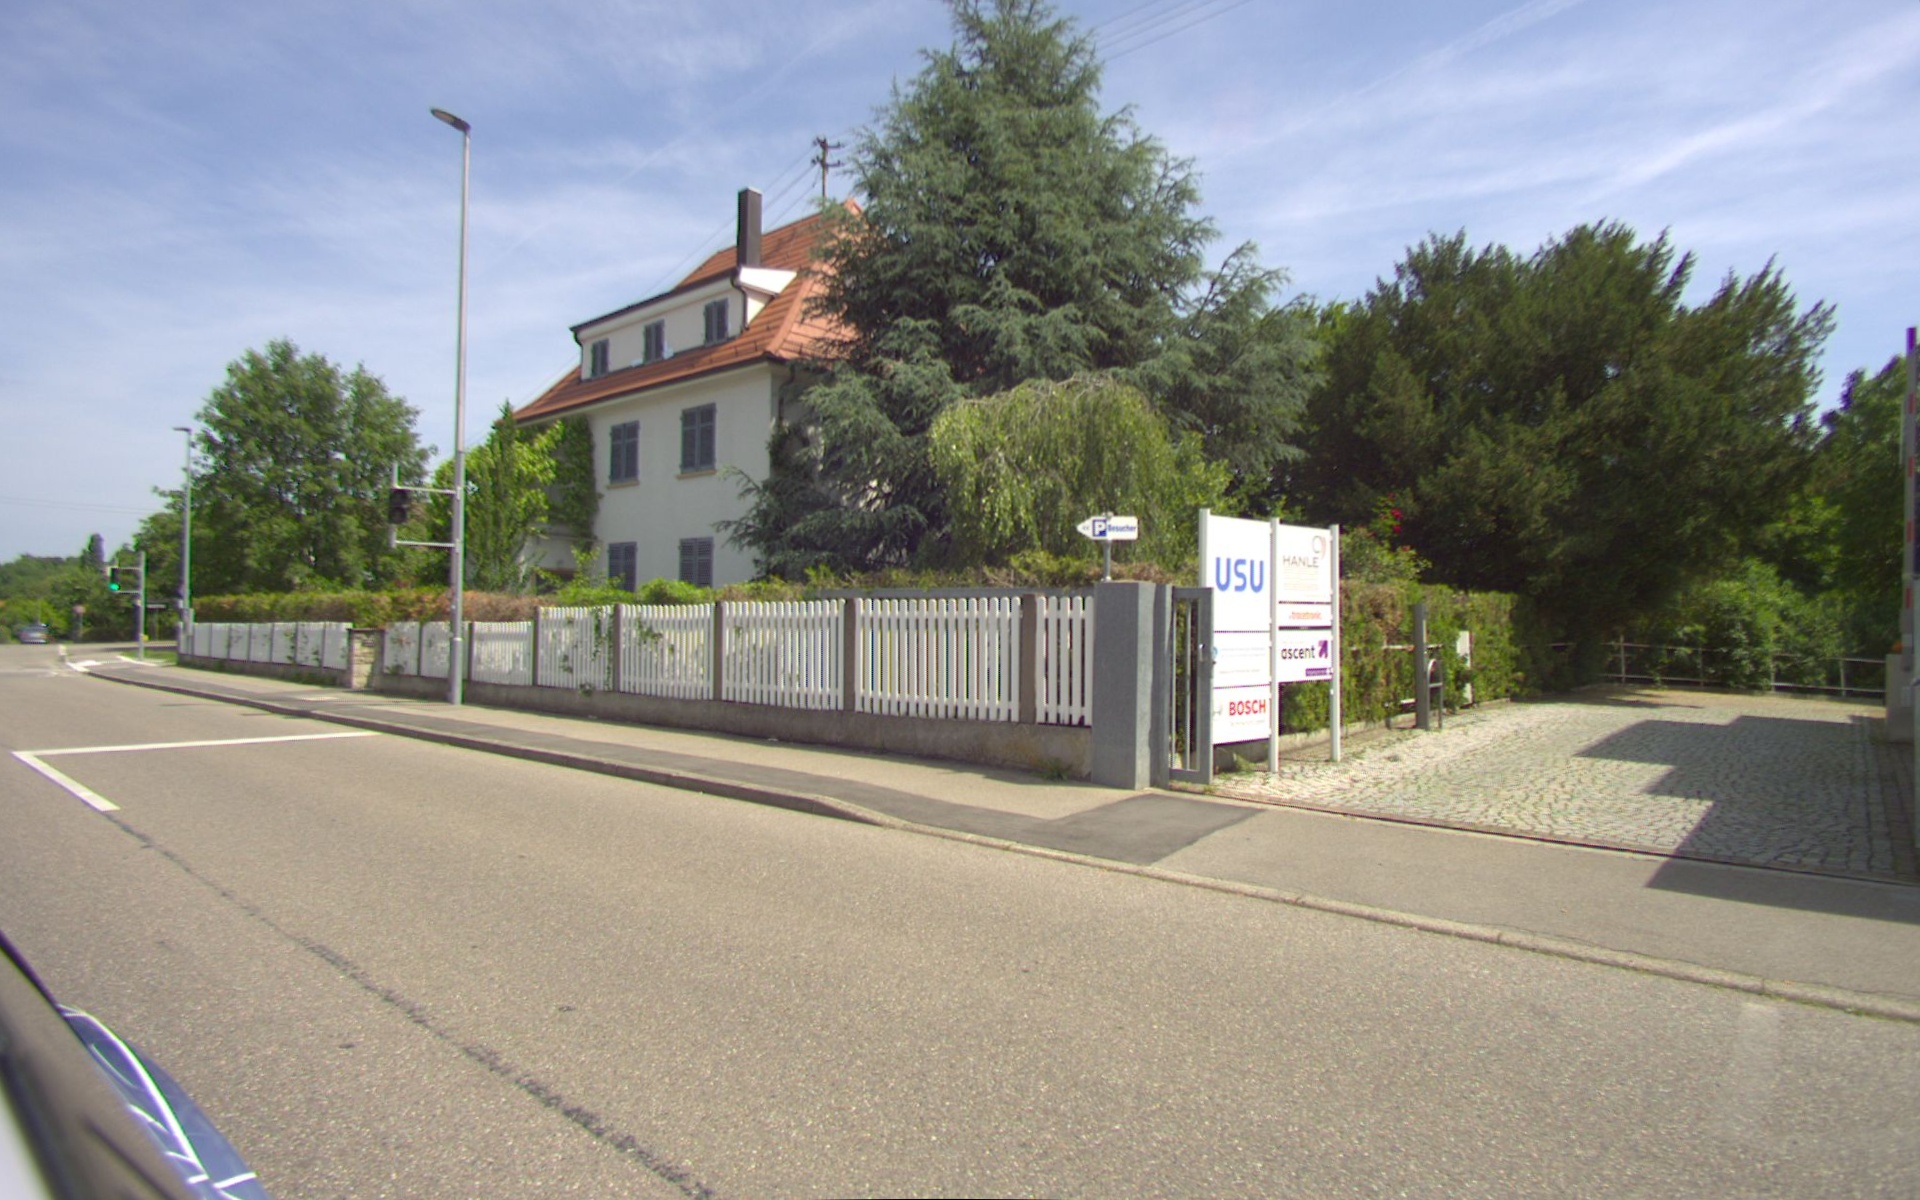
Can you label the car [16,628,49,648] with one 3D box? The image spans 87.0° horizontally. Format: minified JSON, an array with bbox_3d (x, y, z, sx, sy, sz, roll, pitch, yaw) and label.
[{"bbox_3d":[-70.203,2.857,76.648,1.758,1.405,4.414,2,-2,-42],"label":"car"}]
